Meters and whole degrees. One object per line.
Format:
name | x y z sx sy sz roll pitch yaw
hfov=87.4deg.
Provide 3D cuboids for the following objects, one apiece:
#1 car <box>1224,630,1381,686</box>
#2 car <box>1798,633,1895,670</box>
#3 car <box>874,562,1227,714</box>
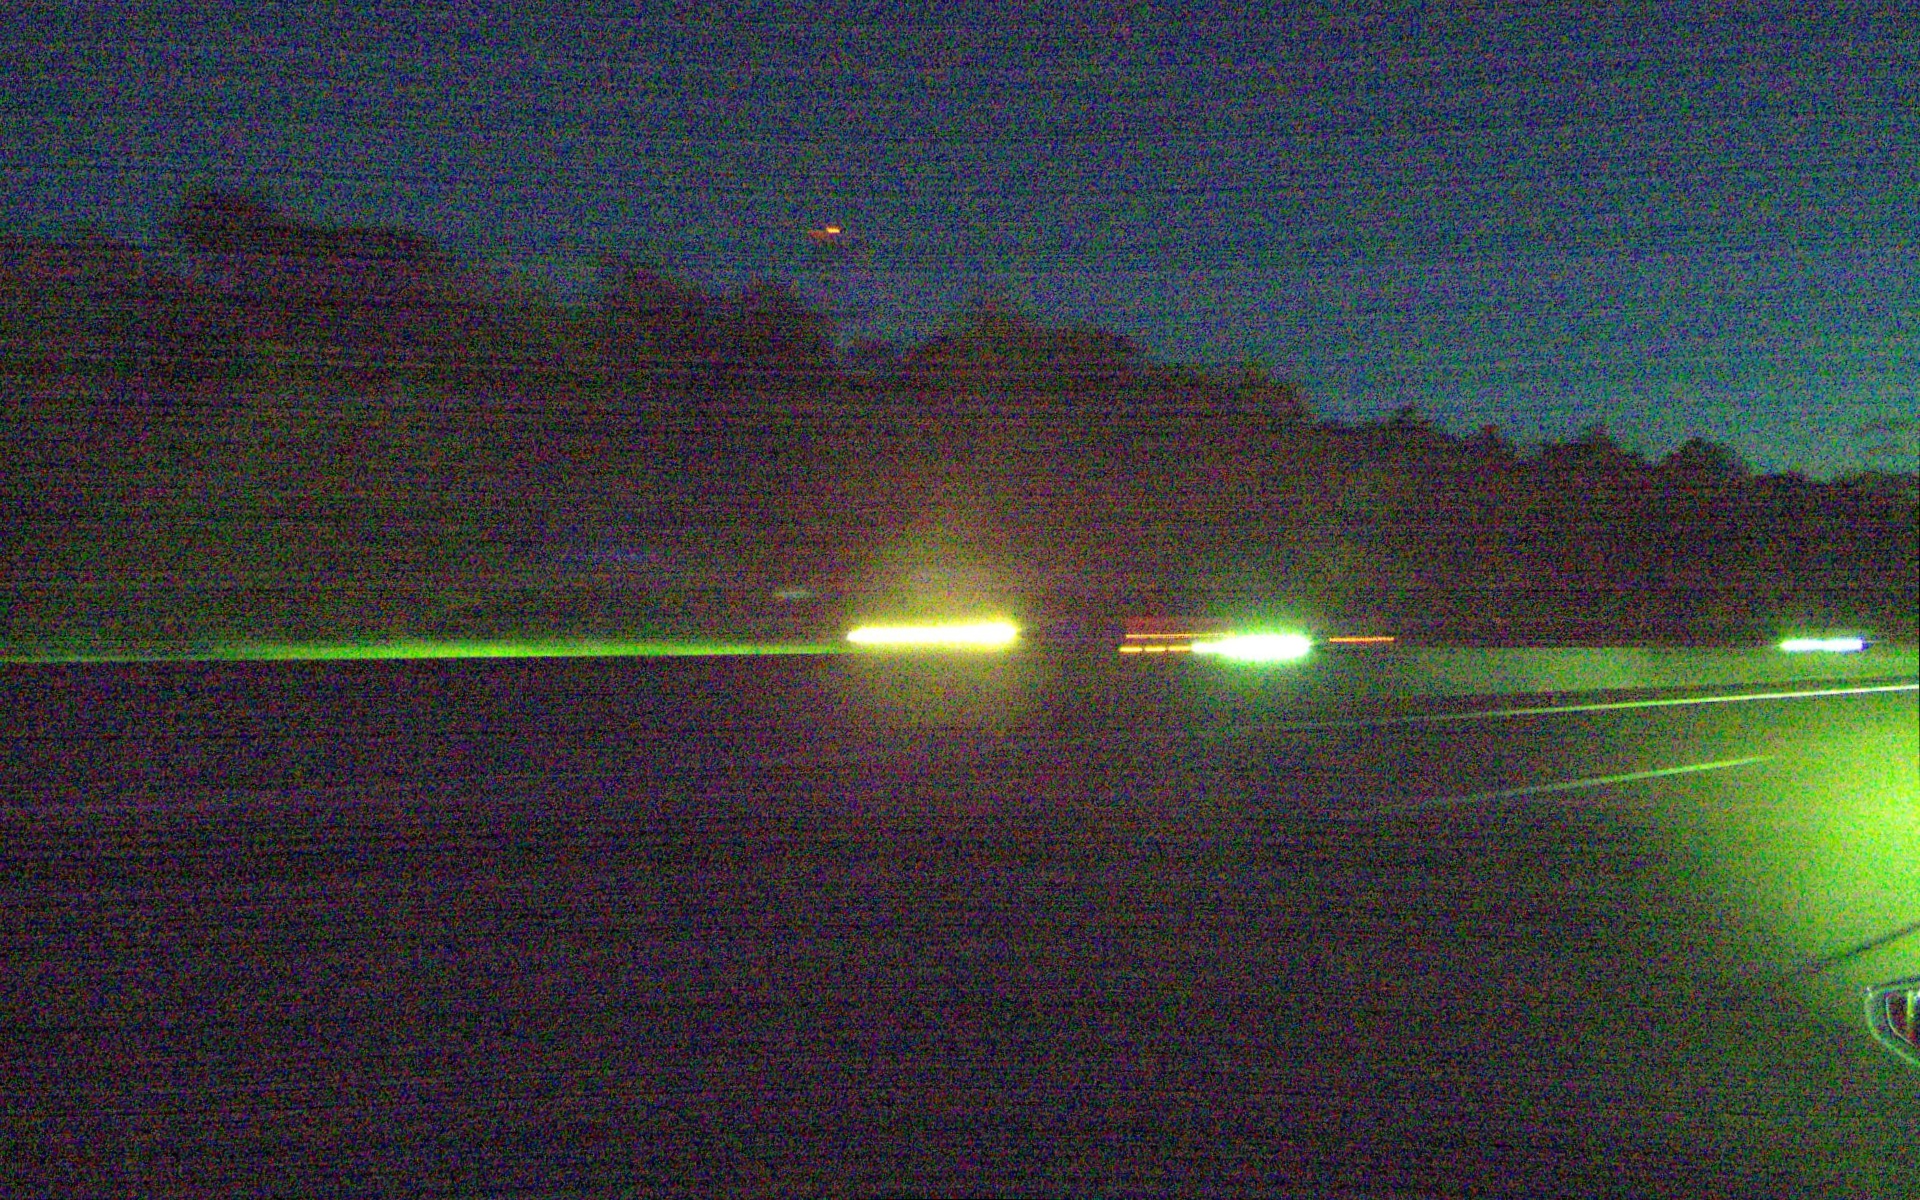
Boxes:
car | 10.895 1.775 31.833 5.021 1.619 2.040 1 -1 -32
car | 38.649 2.202 43.785 4.650 1.517 1.852 1 -1 -31
car | 2.146 0.808 22.400 7.628 2.895 2.939 1 -1 -31
